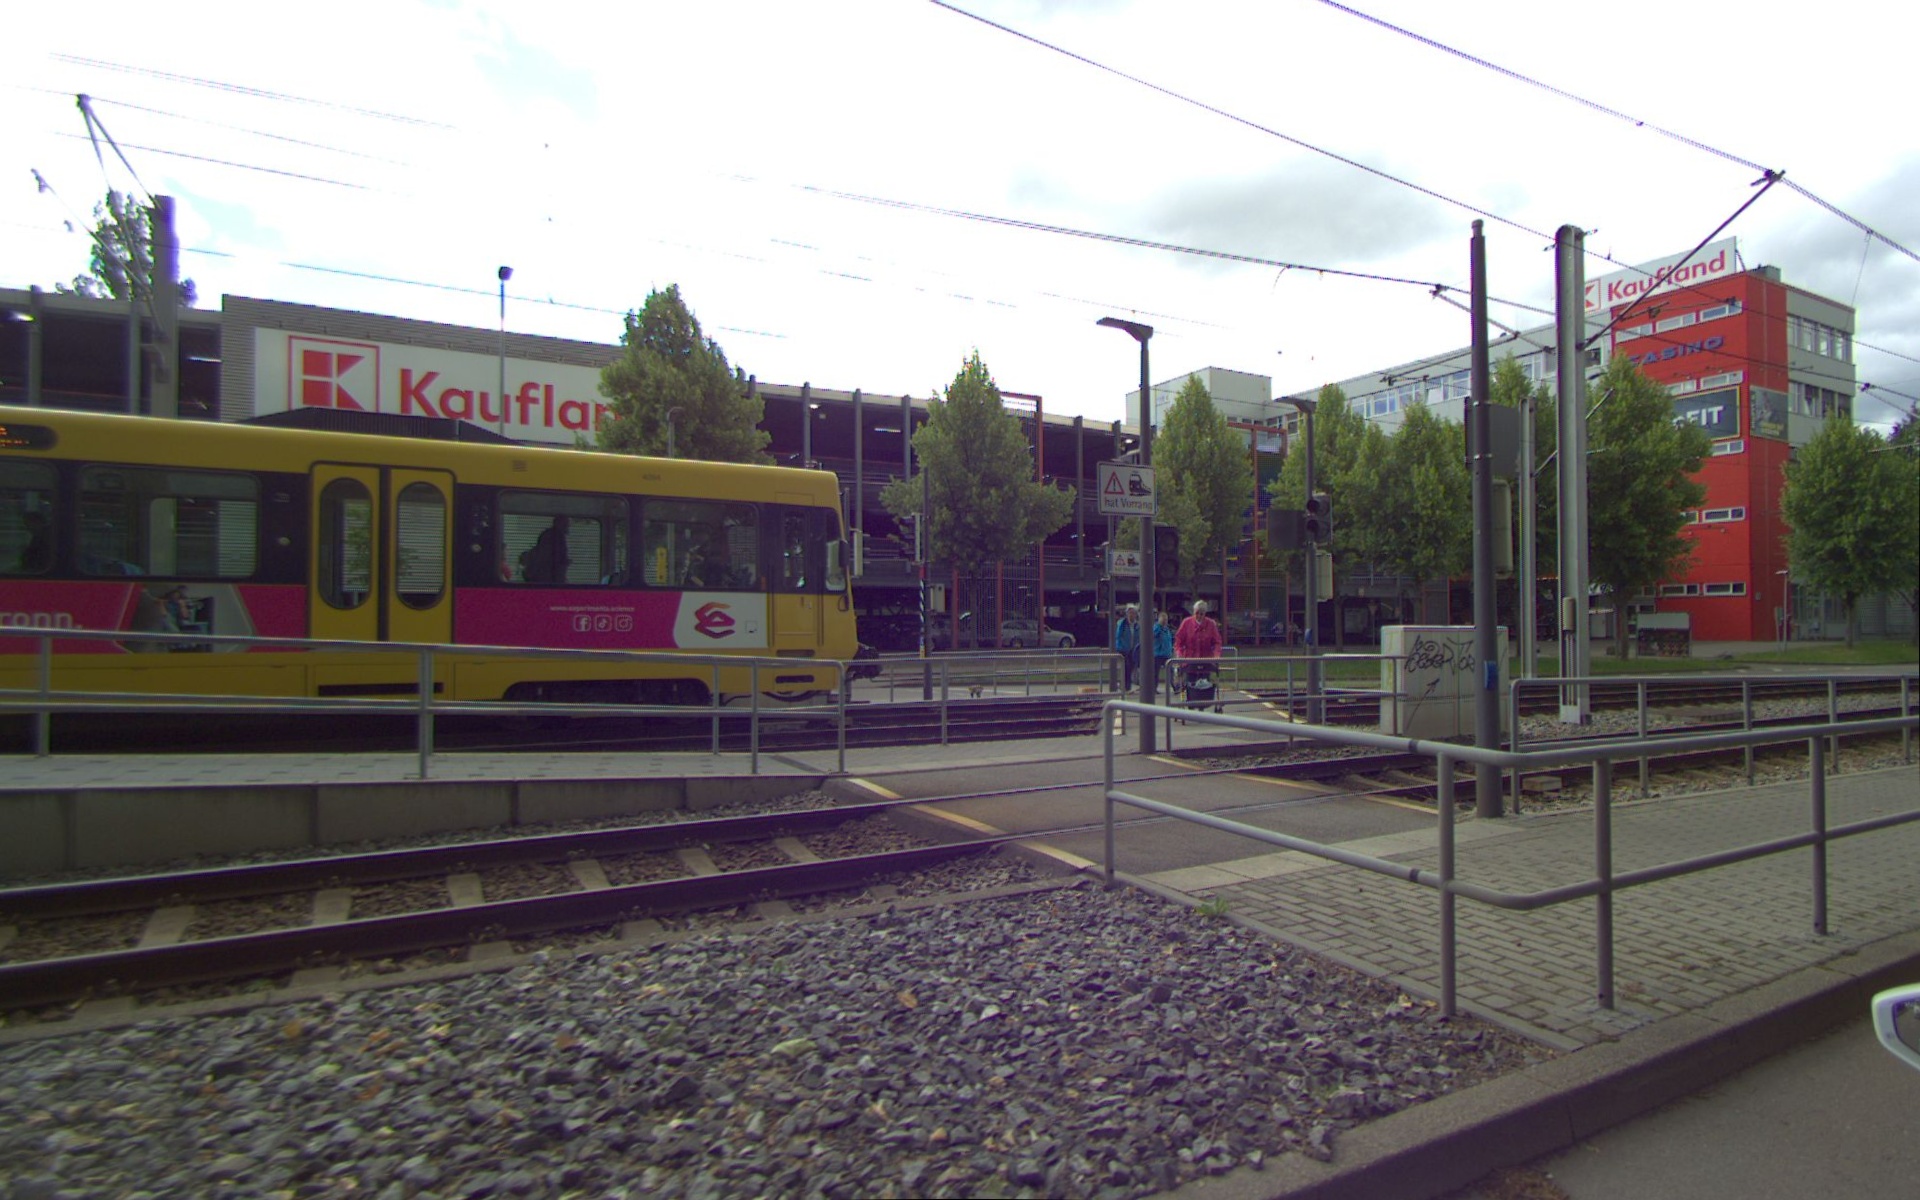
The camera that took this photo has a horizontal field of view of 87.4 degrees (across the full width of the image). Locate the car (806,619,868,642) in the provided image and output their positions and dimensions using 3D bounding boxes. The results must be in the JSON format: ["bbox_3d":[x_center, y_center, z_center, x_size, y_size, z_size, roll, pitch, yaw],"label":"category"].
[{"bbox_3d":[-6.953,1.747,56.711,3.178,1.240,1.432,1,-3,-30],"label":"car"}]

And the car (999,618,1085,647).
[{"bbox_3d":[4.008,1.559,48.820,4.024,1.322,1.628,1,-1,-31],"label":"car"}]

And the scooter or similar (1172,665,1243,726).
[{"bbox_3d":[3.323,1.279,13.511,0.784,0.778,0.497,0,-2,-8],"label":"scooter or similar"}]

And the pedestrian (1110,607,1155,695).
[{"bbox_3d":[3.461,1.006,20.127,0.646,1.720,0.727,-1,-1,33],"label":"pedestrian"}]

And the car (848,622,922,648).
[{"bbox_3d":[-3.748,1.735,50.231,3.432,1.240,1.433,1,-3,-29],"label":"car"}]

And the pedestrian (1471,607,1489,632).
[{"bbox_3d":[35.964,1.331,69.470,0.856,1.717,0.734,1,-3,-30],"label":"pedestrian"}]

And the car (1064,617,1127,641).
[{"bbox_3d":[8.410,1.817,62.393,3.631,1.437,1.666,1,-2,-30],"label":"car"}]

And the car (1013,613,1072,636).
[{"bbox_3d":[5.517,1.644,66.797,3.631,1.495,1.666,1,-2,-30],"label":"car"}]

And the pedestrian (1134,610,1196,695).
[{"bbox_3d":[4.007,1.019,19.680,0.926,1.632,0.712,0,-3,-18],"label":"pedestrian"}]

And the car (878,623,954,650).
[{"bbox_3d":[-2.104,1.744,48.261,3.432,1.240,1.432,1,-2,-29],"label":"car"}]

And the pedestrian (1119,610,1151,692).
[{"bbox_3d":[3.642,1.054,20.916,0.458,1.683,0.516,0,-2,-18],"label":"pedestrian"}]

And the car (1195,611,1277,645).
[{"bbox_3d":[16.032,1.606,58.291,4.810,1.913,1.666,1,-2,-30],"label":"car"}]

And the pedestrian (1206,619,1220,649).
[{"bbox_3d":[12.981,1.763,51.541,0.606,1.526,0.419,0,0,-29],"label":"pedestrian"}]

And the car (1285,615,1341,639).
[{"bbox_3d":[24.049,1.871,68.425,3.600,1.572,1.759,1,-3,-32],"label":"car"}]

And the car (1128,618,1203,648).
[{"bbox_3d":[10.563,1.670,51.591,3.631,1.495,1.666,1,-1,-30],"label":"car"}]

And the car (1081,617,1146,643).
[{"bbox_3d":[9.238,1.810,60.420,3.631,1.495,1.666,1,-2,-30],"label":"car"}]

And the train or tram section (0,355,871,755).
[{"bbox_3d":[-10.002,-0.419,10.896,18.397,3.879,2.746,1,-1,-28],"label":"train or tram section"}]

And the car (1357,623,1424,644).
[{"bbox_3d":[26.421,2.031,61.654,4.397,1.243,1.448,1,-1,-30],"label":"car"}]

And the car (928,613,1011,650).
[{"bbox_3d":[0.493,1.648,52.809,4.005,1.838,1.833,1,-2,-30],"label":"car"}]

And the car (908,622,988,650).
[{"bbox_3d":[-0.555,1.642,46.340,3.431,1.240,1.433,1,-2,-28],"label":"car"}]

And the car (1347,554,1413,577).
[{"bbox_3d":[26.198,-2.133,62.645,4.397,1.243,1.429,1,-1,-30],"label":"car"}]

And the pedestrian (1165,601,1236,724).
[{"bbox_3d":[3.366,0.862,14.104,0.781,1.675,0.614,0,-2,-8],"label":"pedestrian"}]
